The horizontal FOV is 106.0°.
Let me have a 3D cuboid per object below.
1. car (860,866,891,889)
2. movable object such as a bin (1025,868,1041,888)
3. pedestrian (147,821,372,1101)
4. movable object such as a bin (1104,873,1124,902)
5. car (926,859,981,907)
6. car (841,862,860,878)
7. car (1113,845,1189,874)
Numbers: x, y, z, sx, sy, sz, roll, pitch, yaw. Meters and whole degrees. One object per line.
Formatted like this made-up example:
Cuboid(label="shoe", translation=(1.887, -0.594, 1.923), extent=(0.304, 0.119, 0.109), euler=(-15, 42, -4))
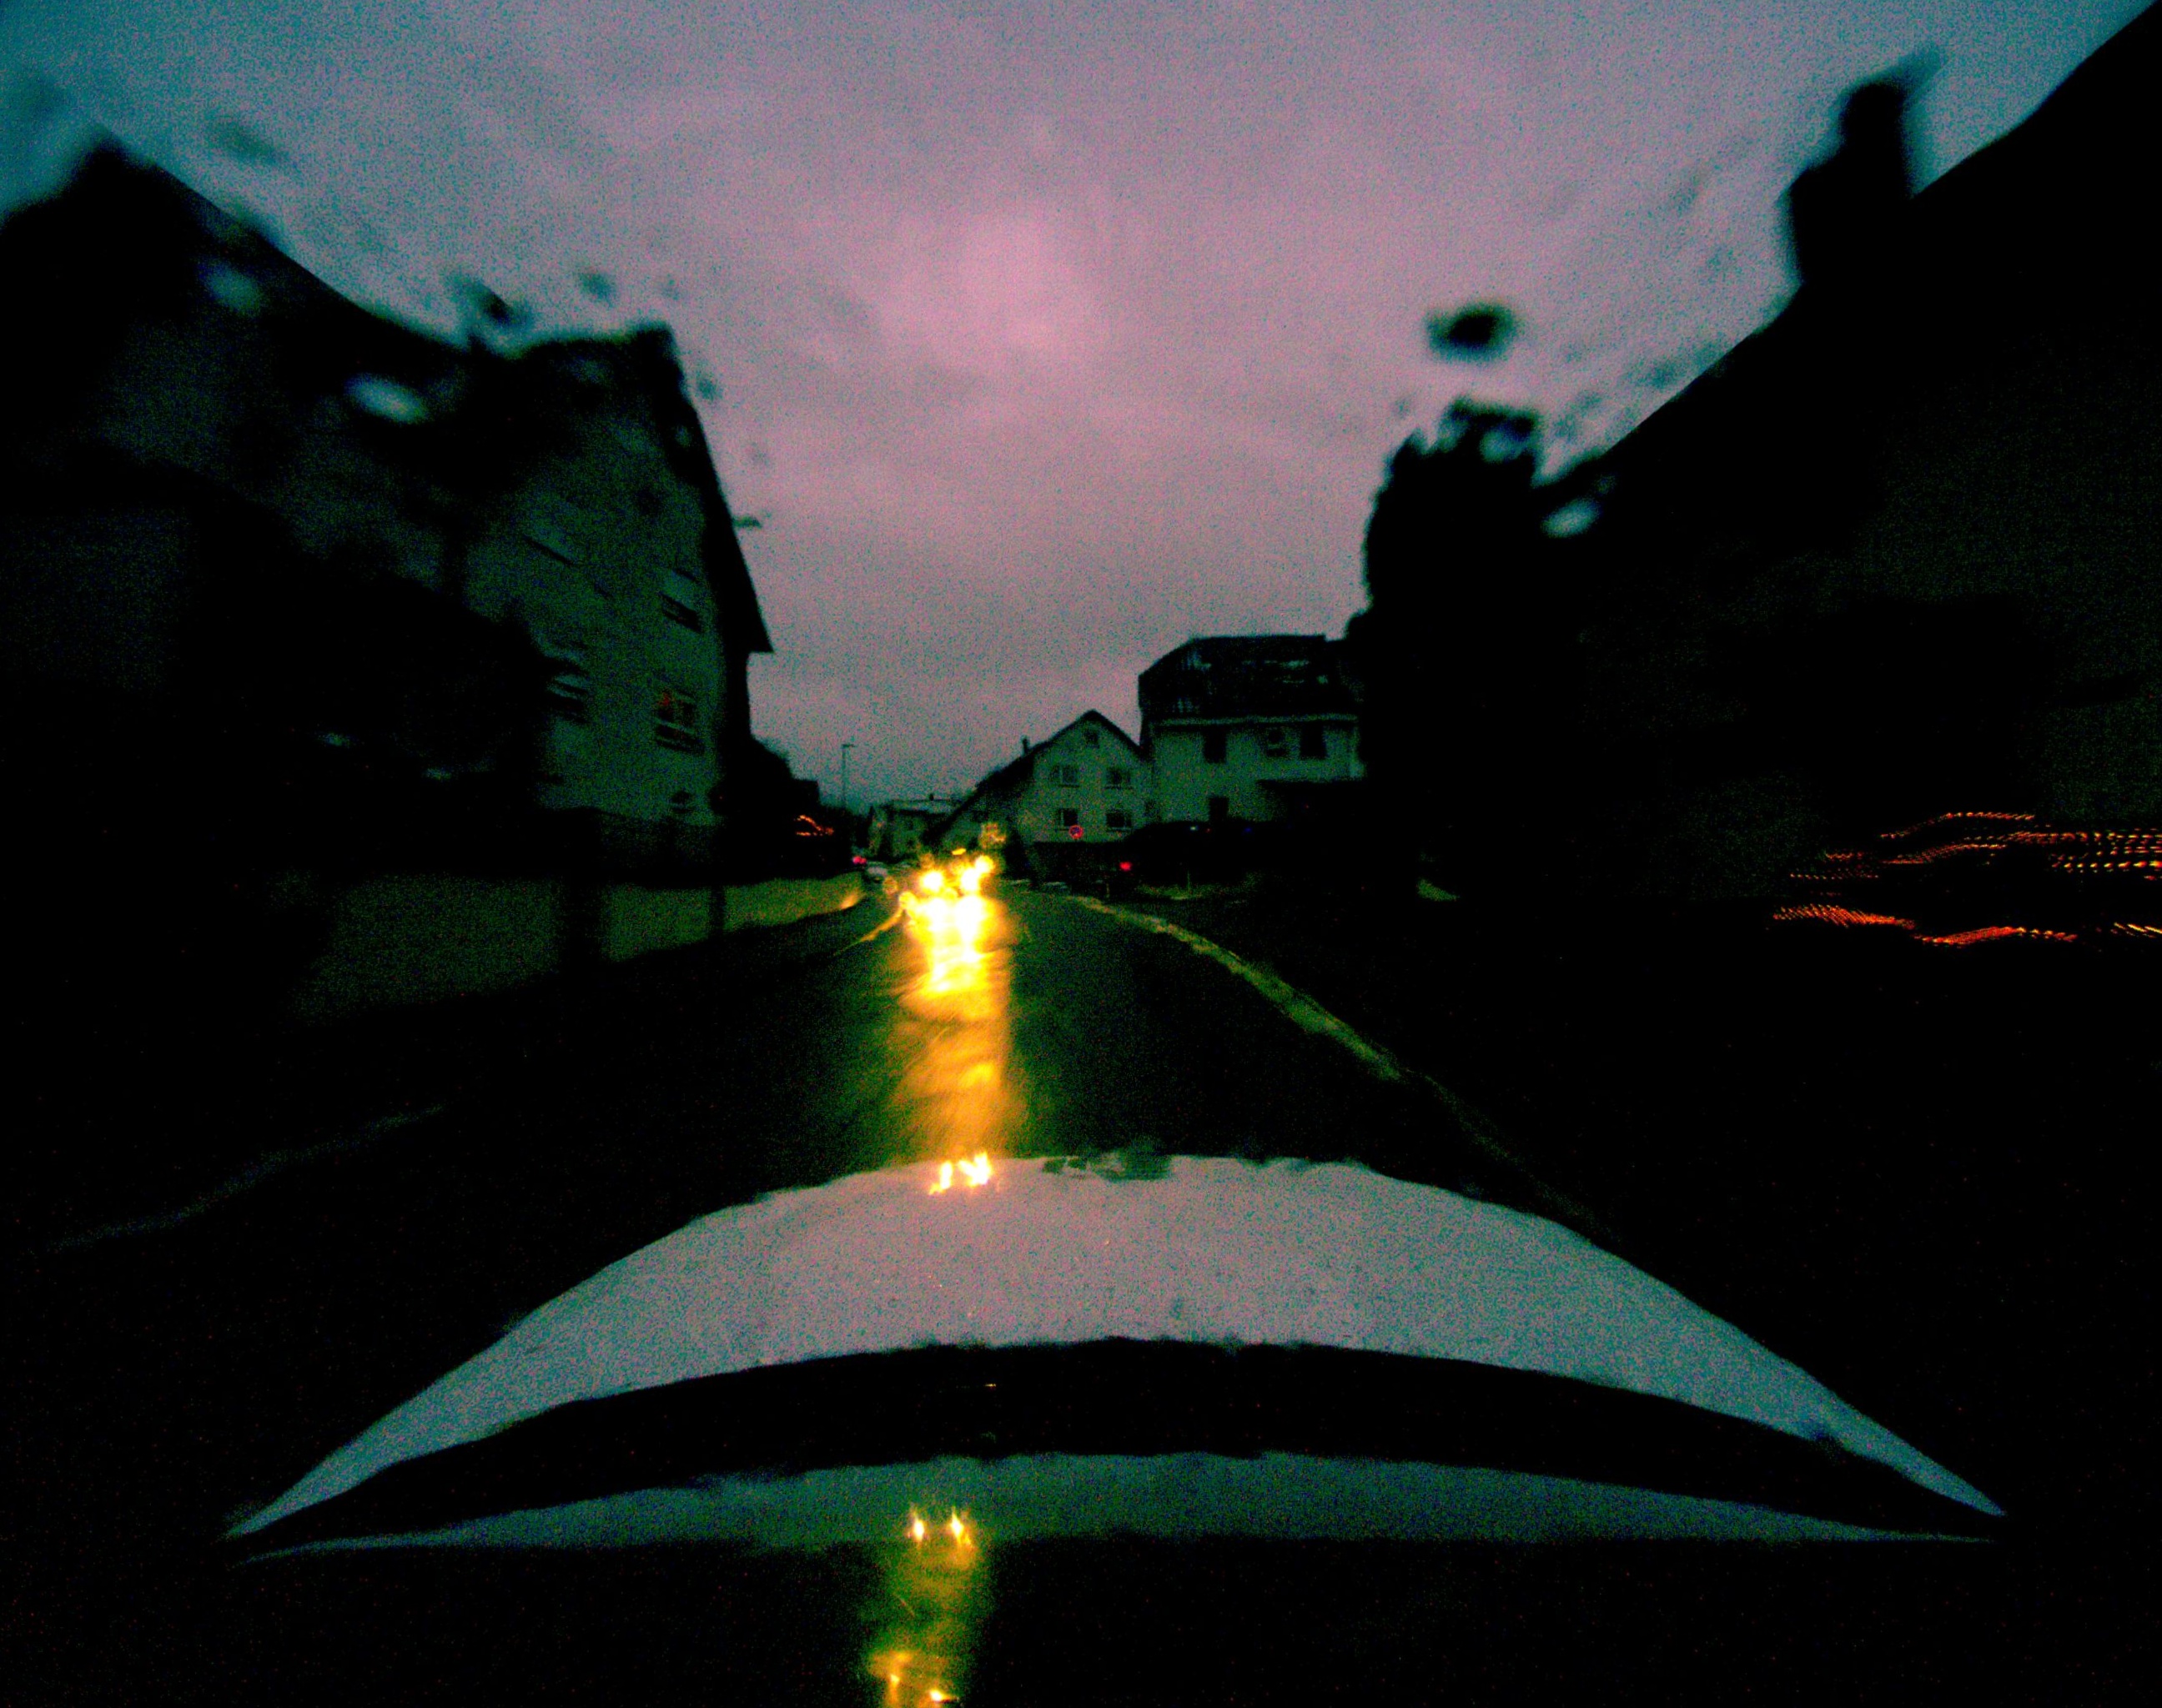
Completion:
Cuboid(label="car", translation=(-13.401, 1.506, 53.078), extent=(1.623, 1.438, 3.632), euler=(-1, 0, -19))
Cuboid(label="movable object such as a bin", translation=(-2.285, 1.138, 38.660), extent=(0.638, 0.917, 0.682), euler=(0, -1, -14))
Cuboid(label="pedestrian", translation=(-5.474, 0.672, 5.488), extent=(0.595, 1.733, 0.812), euler=(1, -2, 2))
Cuboid(label="movable object such as a bin", translation=(1.087, 1.098, 26.828), extent=(0.537, 0.938, 0.687), euler=(0, -1, -8))
Cuboid(label="car", translation=(-5.892, 1.297, 38.205), extent=(2.107, 2.027, 4.974), euler=(-1, 0, -5))
Cuboid(label="car", translation=(-24.318, 1.670, 85.855), extent=(1.689, 1.584, 4.148), euler=(-1, 0, -19))
Cuboid(label="car", translation=(4.017, 0.286, 47.288), extent=(3.992, 1.618, 1.991), euler=(0, 0, -14))
